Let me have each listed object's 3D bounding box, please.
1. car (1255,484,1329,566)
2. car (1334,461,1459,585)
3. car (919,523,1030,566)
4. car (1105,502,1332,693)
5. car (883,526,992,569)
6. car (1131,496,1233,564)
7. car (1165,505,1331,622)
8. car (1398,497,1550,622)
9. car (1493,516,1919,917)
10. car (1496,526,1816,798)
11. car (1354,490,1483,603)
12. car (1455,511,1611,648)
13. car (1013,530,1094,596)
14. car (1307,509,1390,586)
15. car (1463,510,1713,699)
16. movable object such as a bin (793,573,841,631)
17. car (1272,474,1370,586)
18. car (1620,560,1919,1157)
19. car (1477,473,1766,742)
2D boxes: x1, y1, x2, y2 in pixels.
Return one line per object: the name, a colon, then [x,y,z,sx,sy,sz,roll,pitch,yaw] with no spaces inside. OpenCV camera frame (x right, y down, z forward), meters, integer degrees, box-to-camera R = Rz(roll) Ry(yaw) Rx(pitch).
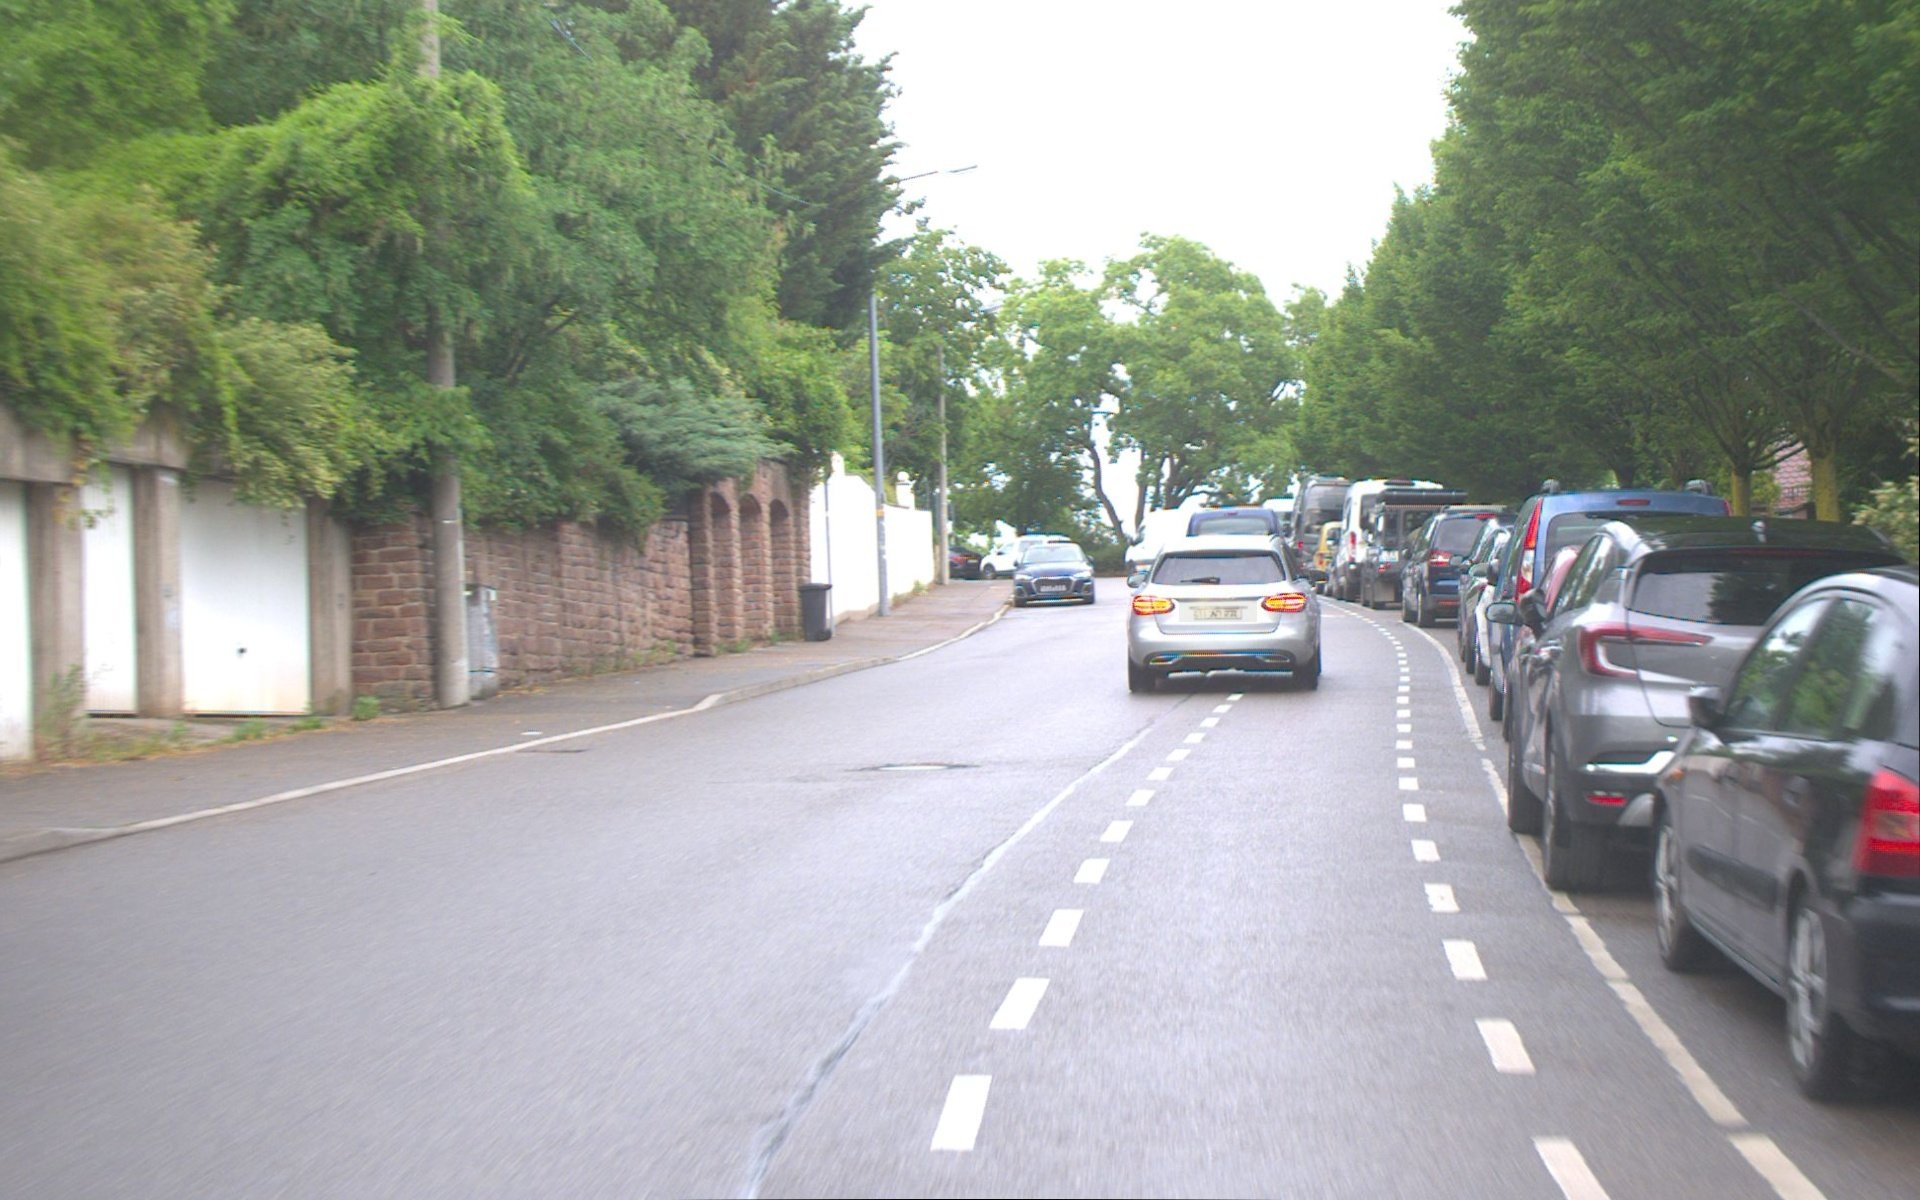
car: [10.381,-2.366,107.685,2.064,2.486,4.759,1,1,3]
car: [9.175,-1.631,72.745,2.174,2.484,6.033,1,1,3]
car: [0.600,-2.333,143.666,4.493,1.692,1.965,2,2,44]
car: [2.544,-0.054,33.338,2.025,1.702,4.215,-1,1,5]
car: [-0.973,-2.226,145.293,1.965,1.692,4.668,0,2,-42]
car: [8.428,-2.698,130.918,2.125,2.518,4.498,0,1,-22]
car: [4.317,-0.540,52.033,1.993,1.702,4.000,0,0,-3]
car: [7.714,-0.645,51.955,1.780,1.777,4.679,-1,1,3]
car: [3.427,0.417,15.687,1.714,1.550,4.163,2,1,6]
car: [4.134,0.298,20.912,1.649,1.476,4.018,0,1,8]
car: [8.633,-1.016,65.093,1.994,2.045,5.121,0,1,3]
car: [6.872,-0.277,41.489,1.693,1.565,3.921,0,1,7]
car: [2.168,-0.877,79.062,1.748,1.353,4.425,-3,1,2]
car: [9.658,-1.328,85.695,1.727,1.779,4.275,2,1,3]
car: [5.659,-0.011,31.422,1.783,1.603,4.223,0,1,4]
movable object such as a bin: [-2.300,0.024,55.393,0.658,0.916,0.677,-1,1,6]
car: [9.607,-1.879,91.860,2.124,2.877,5.769,1,1,2]
car: [3.119,0.619,10.414,1.643,1.419,4.287,1,1,4]
car: [4.898,-0.010,25.977,1.778,1.845,4.424,0,2,6]
